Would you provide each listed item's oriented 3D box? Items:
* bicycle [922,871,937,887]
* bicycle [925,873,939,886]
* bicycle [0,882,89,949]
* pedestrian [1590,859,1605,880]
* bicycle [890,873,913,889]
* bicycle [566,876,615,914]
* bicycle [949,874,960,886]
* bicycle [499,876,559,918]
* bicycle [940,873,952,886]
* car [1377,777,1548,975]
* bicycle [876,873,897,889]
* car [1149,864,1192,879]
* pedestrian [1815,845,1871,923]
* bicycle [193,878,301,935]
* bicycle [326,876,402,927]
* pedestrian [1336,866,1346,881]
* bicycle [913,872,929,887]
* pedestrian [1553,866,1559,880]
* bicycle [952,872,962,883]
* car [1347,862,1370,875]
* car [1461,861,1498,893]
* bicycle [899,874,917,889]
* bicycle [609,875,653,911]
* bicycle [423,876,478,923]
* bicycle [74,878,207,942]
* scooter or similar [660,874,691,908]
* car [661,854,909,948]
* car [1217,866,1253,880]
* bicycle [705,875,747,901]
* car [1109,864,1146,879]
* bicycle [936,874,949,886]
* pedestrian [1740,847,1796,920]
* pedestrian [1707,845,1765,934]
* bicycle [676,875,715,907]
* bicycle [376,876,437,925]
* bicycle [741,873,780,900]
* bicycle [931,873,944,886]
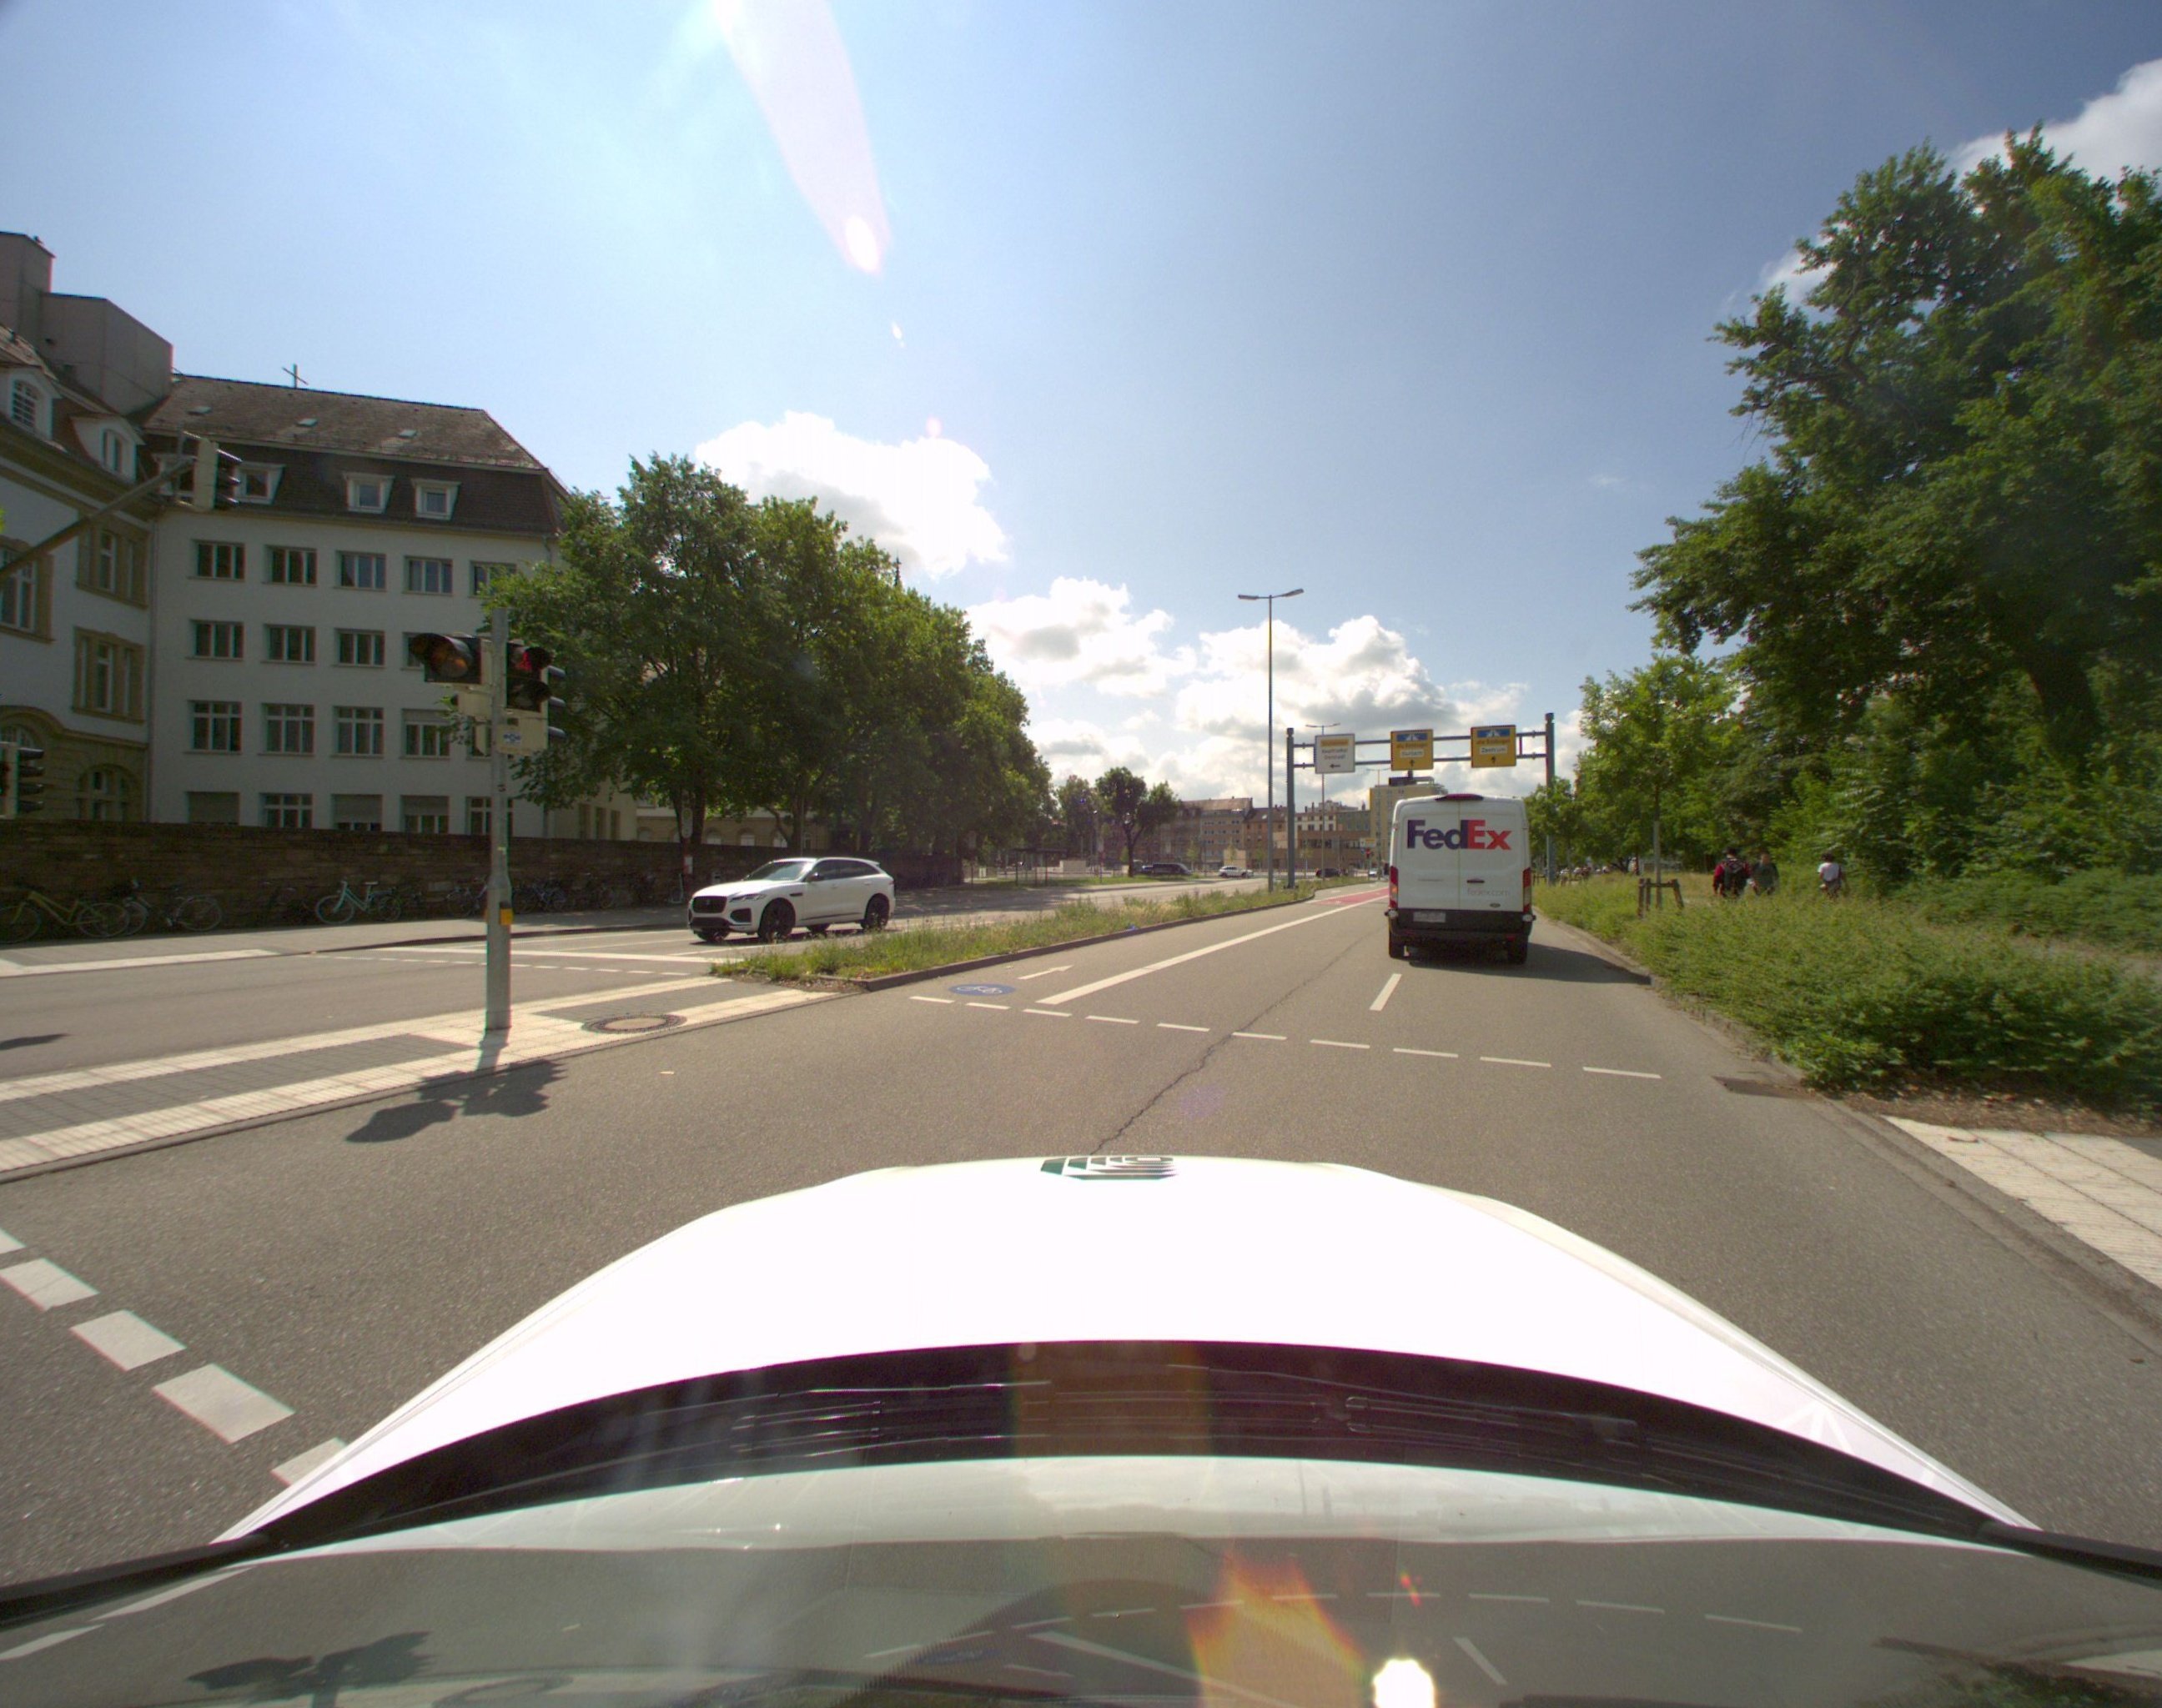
[{"bbox_3d":[-10.245,1.668,55.145,0.540,1.051,1.627,0,-1,8],"label":"bicycle"},{"bbox_3d":[-10.398,1.792,56.847,0.541,0.902,1.667,0,-1,4],"label":"bicycle"},{"bbox_3d":[-19.016,1.089,14.519,0.495,1.152,1.601,-1,-1,16],"label":"bicycle"},{"bbox_3d":[39.827,1.196,62.758,0.837,1.539,0.840,-1,-1,24],"label":"pedestrian"},{"bbox_3d":[-10.772,1.629,48.793,0.497,0.902,1.674,-1,-1,21],"label":"bicycle"},{"bbox_3d":[-15.431,1.267,25.659,0.530,1.152,1.595,0,-1,3],"label":"bicycle"},{"bbox_3d":[-10.177,2.070,65.620,0.541,0.902,1.667,0,-1,4],"label":"bicycle"},{"bbox_3d":[-16.184,1.237,23.897,0.398,1.152,1.600,-1,-1,13],"label":"bicycle"},{"bbox_3d":[-10.272,1.942,62.056,0.450,0.902,1.796,0,-1,4],"label":"bicycle"},{"bbox_3d":[6.385,0.329,13.950,2.121,2.653,5.735,-1,-1,23],"label":"car"},{"bbox_3d":[-11.221,1.547,47.070,0.540,0.902,1.670,0,-1,10],"label":"bicycle"},{"bbox_3d":[11.306,2.179,102.968,4.965,1.879,1.939,0,-1,21],"label":"car"},{"bbox_3d":[17.215,0.666,18.419,0.716,1.722,0.751,-1,-1,26],"label":"pedestrian"},{"bbox_3d":[-18.133,1.115,17.755,0.409,1.152,1.602,-1,-1,19],"label":"bicycle"},{"bbox_3d":[-17.443,1.129,19.851,0.400,1.152,1.595,0,-1,2],"label":"bicycle"},{"bbox_3d":[25.982,1.949,81.347,0.870,1.560,0.555,0,-1,-1],"label":"pedestrian"},{"bbox_3d":[-10.492,1.676,53.464,0.540,0.951,1.669,0,-1,8],"label":"bicycle"},{"bbox_3d":[40.959,1.635,70.282,0.355,1.260,0.394,-1,-2,18],"label":"pedestrian"},{"bbox_3d":[-10.313,1.976,67.704,0.542,0.902,1.665,0,-1,-1],"label":"bicycle"},{"bbox_3d":[42.425,2.197,124.436,1.974,2.014,4.025,-1,-2,39],"label":"car"},{"bbox_3d":[23.016,1.293,47.177,1.796,1.734,4.413,0,0,25],"label":"car"},{"bbox_3d":[-10.754,1.682,50.710,0.540,0.902,1.670,0,-1,9],"label":"bicycle"},{"bbox_3d":[-15.153,1.312,27.448,0.530,1.152,1.595,0,-1,3],"label":"bicycle"},{"bbox_3d":[-16.656,1.178,21.563,0.401,1.152,1.590,0,-1,-8],"label":"bicycle"},{"bbox_3d":[-18.547,1.075,16.109,0.616,1.152,1.601,-1,-1,16],"label":"bicycle"},{"bbox_3d":[-14.208,1.276,28.545,0.430,1.152,1.194,0,-1,4],"label":"scooter or similar"},{"bbox_3d":[-5.939,0.864,17.073,2.052,1.667,4.803,-1,-1,26],"label":"car"},{"bbox_3d":[19.973,2.442,105.368,4.320,1.794,2.010,-1,-2,20],"label":"car"},{"bbox_3d":[-14.024,1.330,32.229,0.476,1.008,1.809,0,-1,16],"label":"bicycle"},{"bbox_3d":[6.251,2.371,110.203,4.589,2.014,2.110,-1,-2,20],"label":"car"},{"bbox_3d":[-10.231,1.907,60.269,0.541,0.902,1.667,0,-1,4],"label":"bicycle"},{"bbox_3d":[16.632,0.706,19.729,0.806,1.722,0.935,-1,-1,26],"label":"pedestrian"},{"bbox_3d":[13.033,0.691,16.221,0.710,1.722,0.842,-1,-1,26],"label":"pedestrian"},{"bbox_3d":[-14.449,1.365,30.544,0.429,1.143,1.599,-1,-1,12],"label":"bicycle"},{"bbox_3d":[-16.972,1.151,20.521,0.401,1.152,1.590,0,-1,-8],"label":"bicycle"},{"bbox_3d":[-13.491,1.355,34.323,0.540,1.048,1.956,0,-1,13],"label":"bicycle"},{"bbox_3d":[-10.302,1.845,58.572,0.541,0.902,1.667,0,-1,4],"label":"bicycle"}]
